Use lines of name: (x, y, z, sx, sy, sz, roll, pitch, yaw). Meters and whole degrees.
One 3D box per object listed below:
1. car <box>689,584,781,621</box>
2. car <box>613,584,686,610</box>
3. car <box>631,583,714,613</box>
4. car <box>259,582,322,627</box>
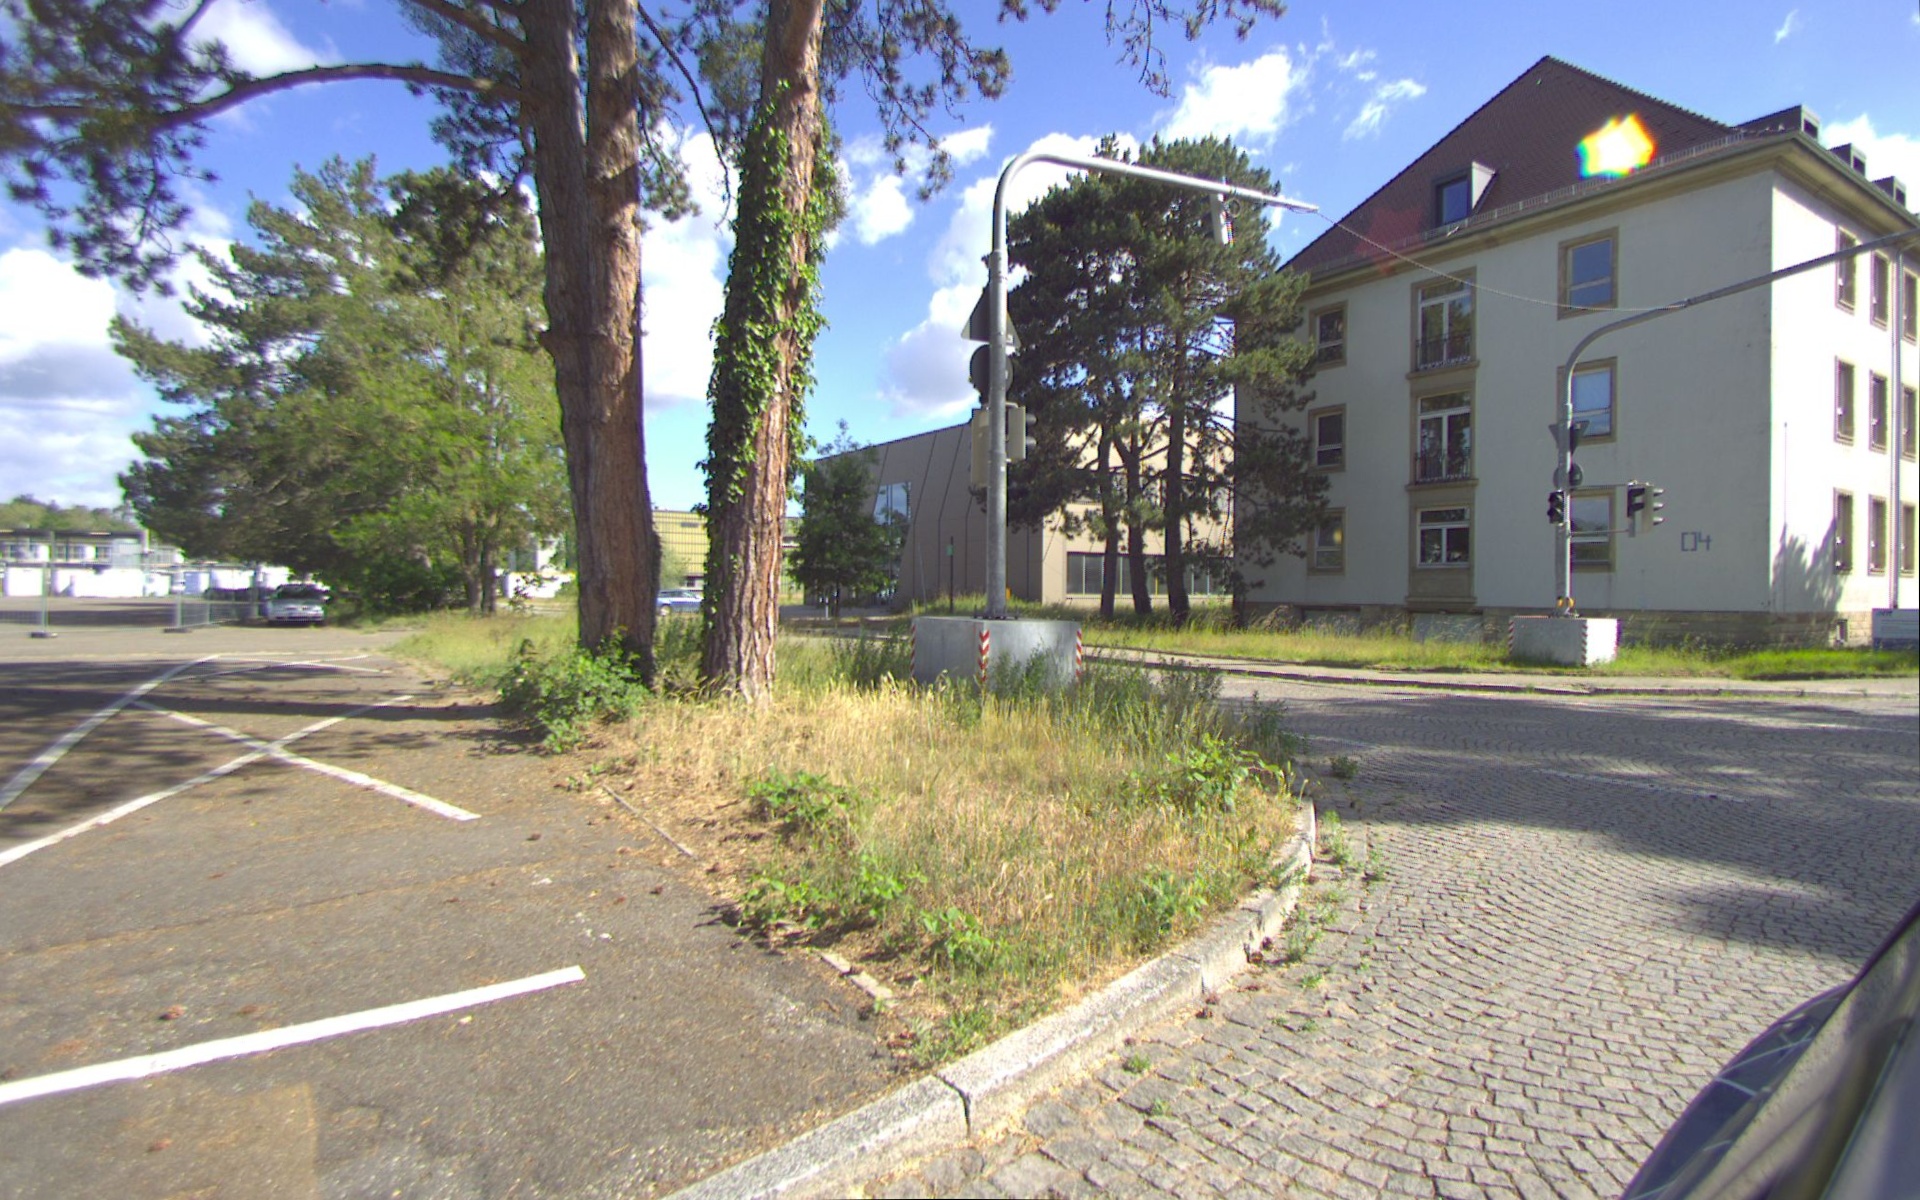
car: (-11.018, 0.095, 49.629, 3.982, 1.583, 1.863, -4, 2, -31)
car: (-19.701, -0.180, 64.234, 4.145, 1.584, 1.782, 0, 0, -34)
car: (-16.319, -0.078, 57.475, 4.145, 1.584, 1.861, 0, -2, -34)
car: (-23.237, 0.141, 35.139, 1.711, 1.440, 4.001, 2, 0, -34)
